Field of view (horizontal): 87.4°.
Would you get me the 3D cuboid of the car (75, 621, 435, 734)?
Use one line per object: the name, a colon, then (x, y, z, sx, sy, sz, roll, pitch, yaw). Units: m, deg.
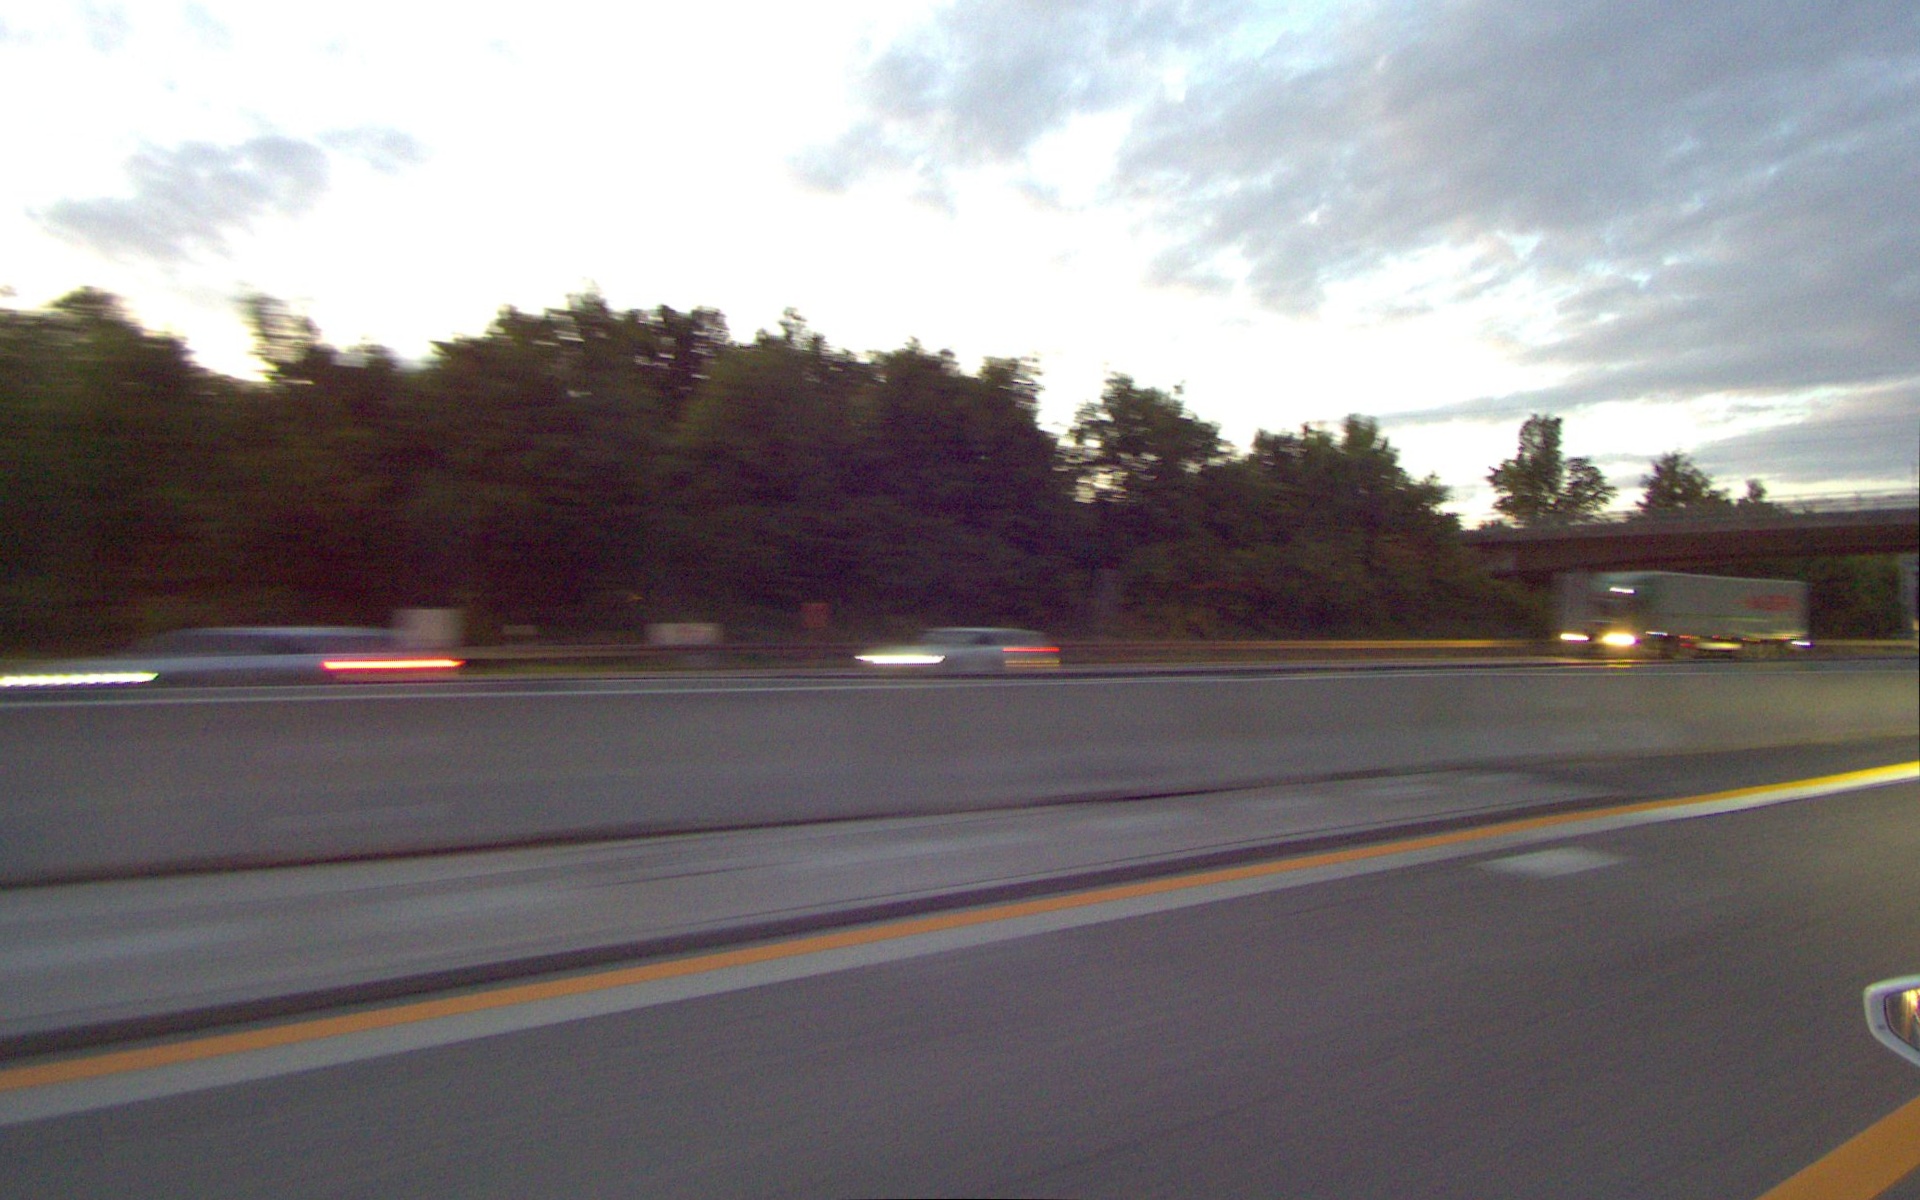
car: (-11.781, 1.274, 17.271, 4.833, 1.660, 1.729, 2, 0, -29)

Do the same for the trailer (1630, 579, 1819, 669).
trailer: (39.486, 1.305, 51.693, 12.245, 4.262, 2.768, 2, 0, -28)

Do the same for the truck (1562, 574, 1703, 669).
truck: (31.950, 1.038, 47.695, 6.305, 4.226, 2.766, 2, 0, -28)

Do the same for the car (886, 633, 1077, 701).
car: (0.624, 1.784, 27.108, 4.970, 1.625, 1.585, 2, 0, -28)
